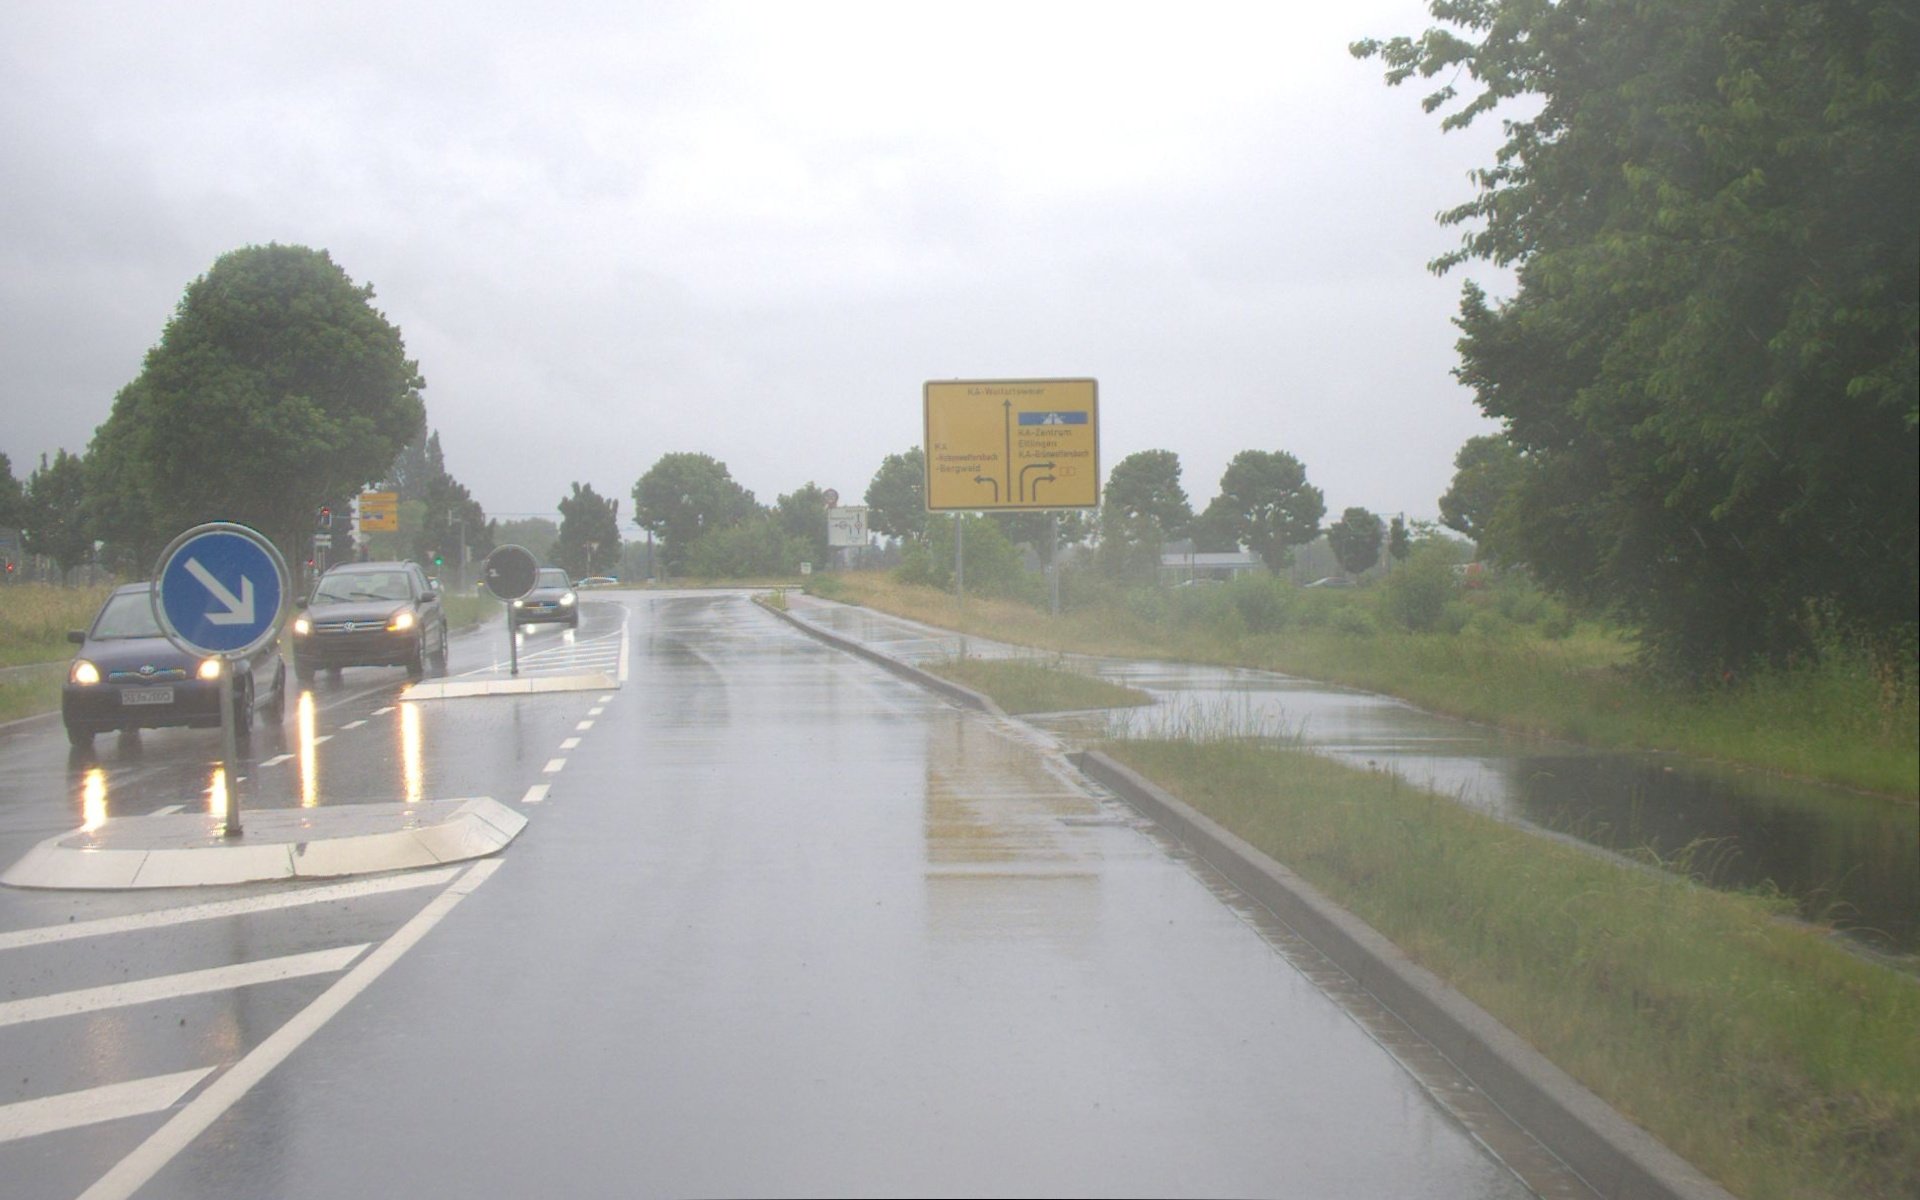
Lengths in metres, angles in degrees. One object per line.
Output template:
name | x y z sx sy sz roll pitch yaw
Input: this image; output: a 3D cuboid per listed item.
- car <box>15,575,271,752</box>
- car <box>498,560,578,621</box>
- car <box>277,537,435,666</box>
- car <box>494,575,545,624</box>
car | -7.623 0.547 32.367 1.741 1.440 3.683 -3 1 -5
car | -10.690 -0.258 87.219 1.697 1.397 3.768 -3 1 -3
car | -8.744 -0.019 50.053 1.741 1.712 4.268 -3 1 -4
car | -18.903 -0.025 147.667 1.993 1.965 4.958 -3 1 -6
